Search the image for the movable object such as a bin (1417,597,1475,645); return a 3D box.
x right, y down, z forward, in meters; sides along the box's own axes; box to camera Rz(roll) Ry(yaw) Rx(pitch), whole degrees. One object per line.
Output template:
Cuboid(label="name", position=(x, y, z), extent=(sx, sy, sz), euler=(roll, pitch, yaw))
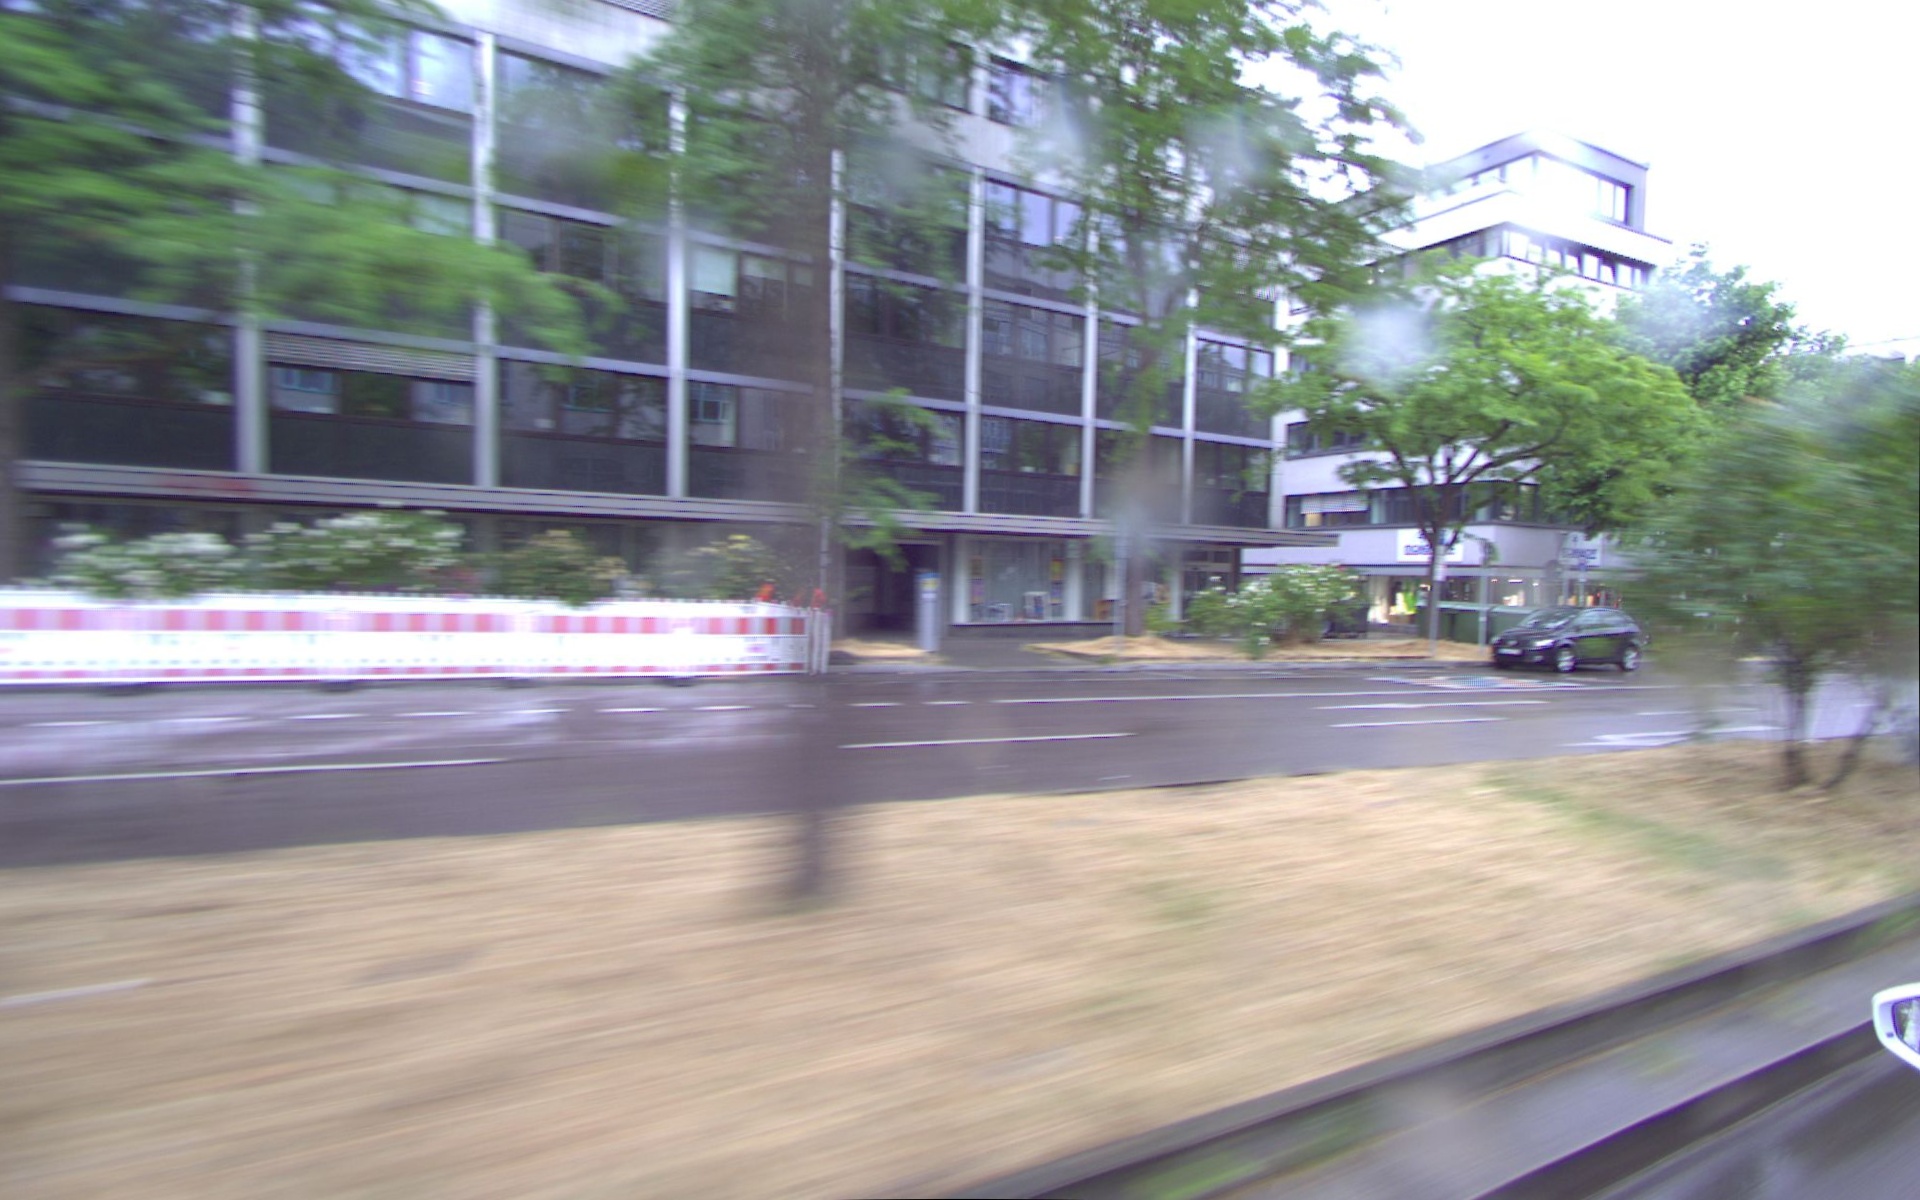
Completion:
Cuboid(label="movable object such as a bin", position=(15.824, 0.675, 32.751), extent=(1.074, 1.508, 1.274), euler=(2, 1, -26))

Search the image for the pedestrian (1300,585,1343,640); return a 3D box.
Cuboid(label="pedestrian", position=(11.485, 0.400, 31.918), extent=(0.886, 1.711, 0.864), euler=(2, 1, -30))

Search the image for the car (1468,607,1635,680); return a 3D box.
Cuboid(label="car", position=(14.691, 1.070, 24.922), extent=(3.975, 1.657, 1.771), euler=(2, 0, -29))

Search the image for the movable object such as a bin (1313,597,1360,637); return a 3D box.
Cuboid(label="movable object such as a bin", position=(14.080, 0.629, 37.590), extent=(1.270, 1.455, 1.078), euler=(2, 1, -35))
